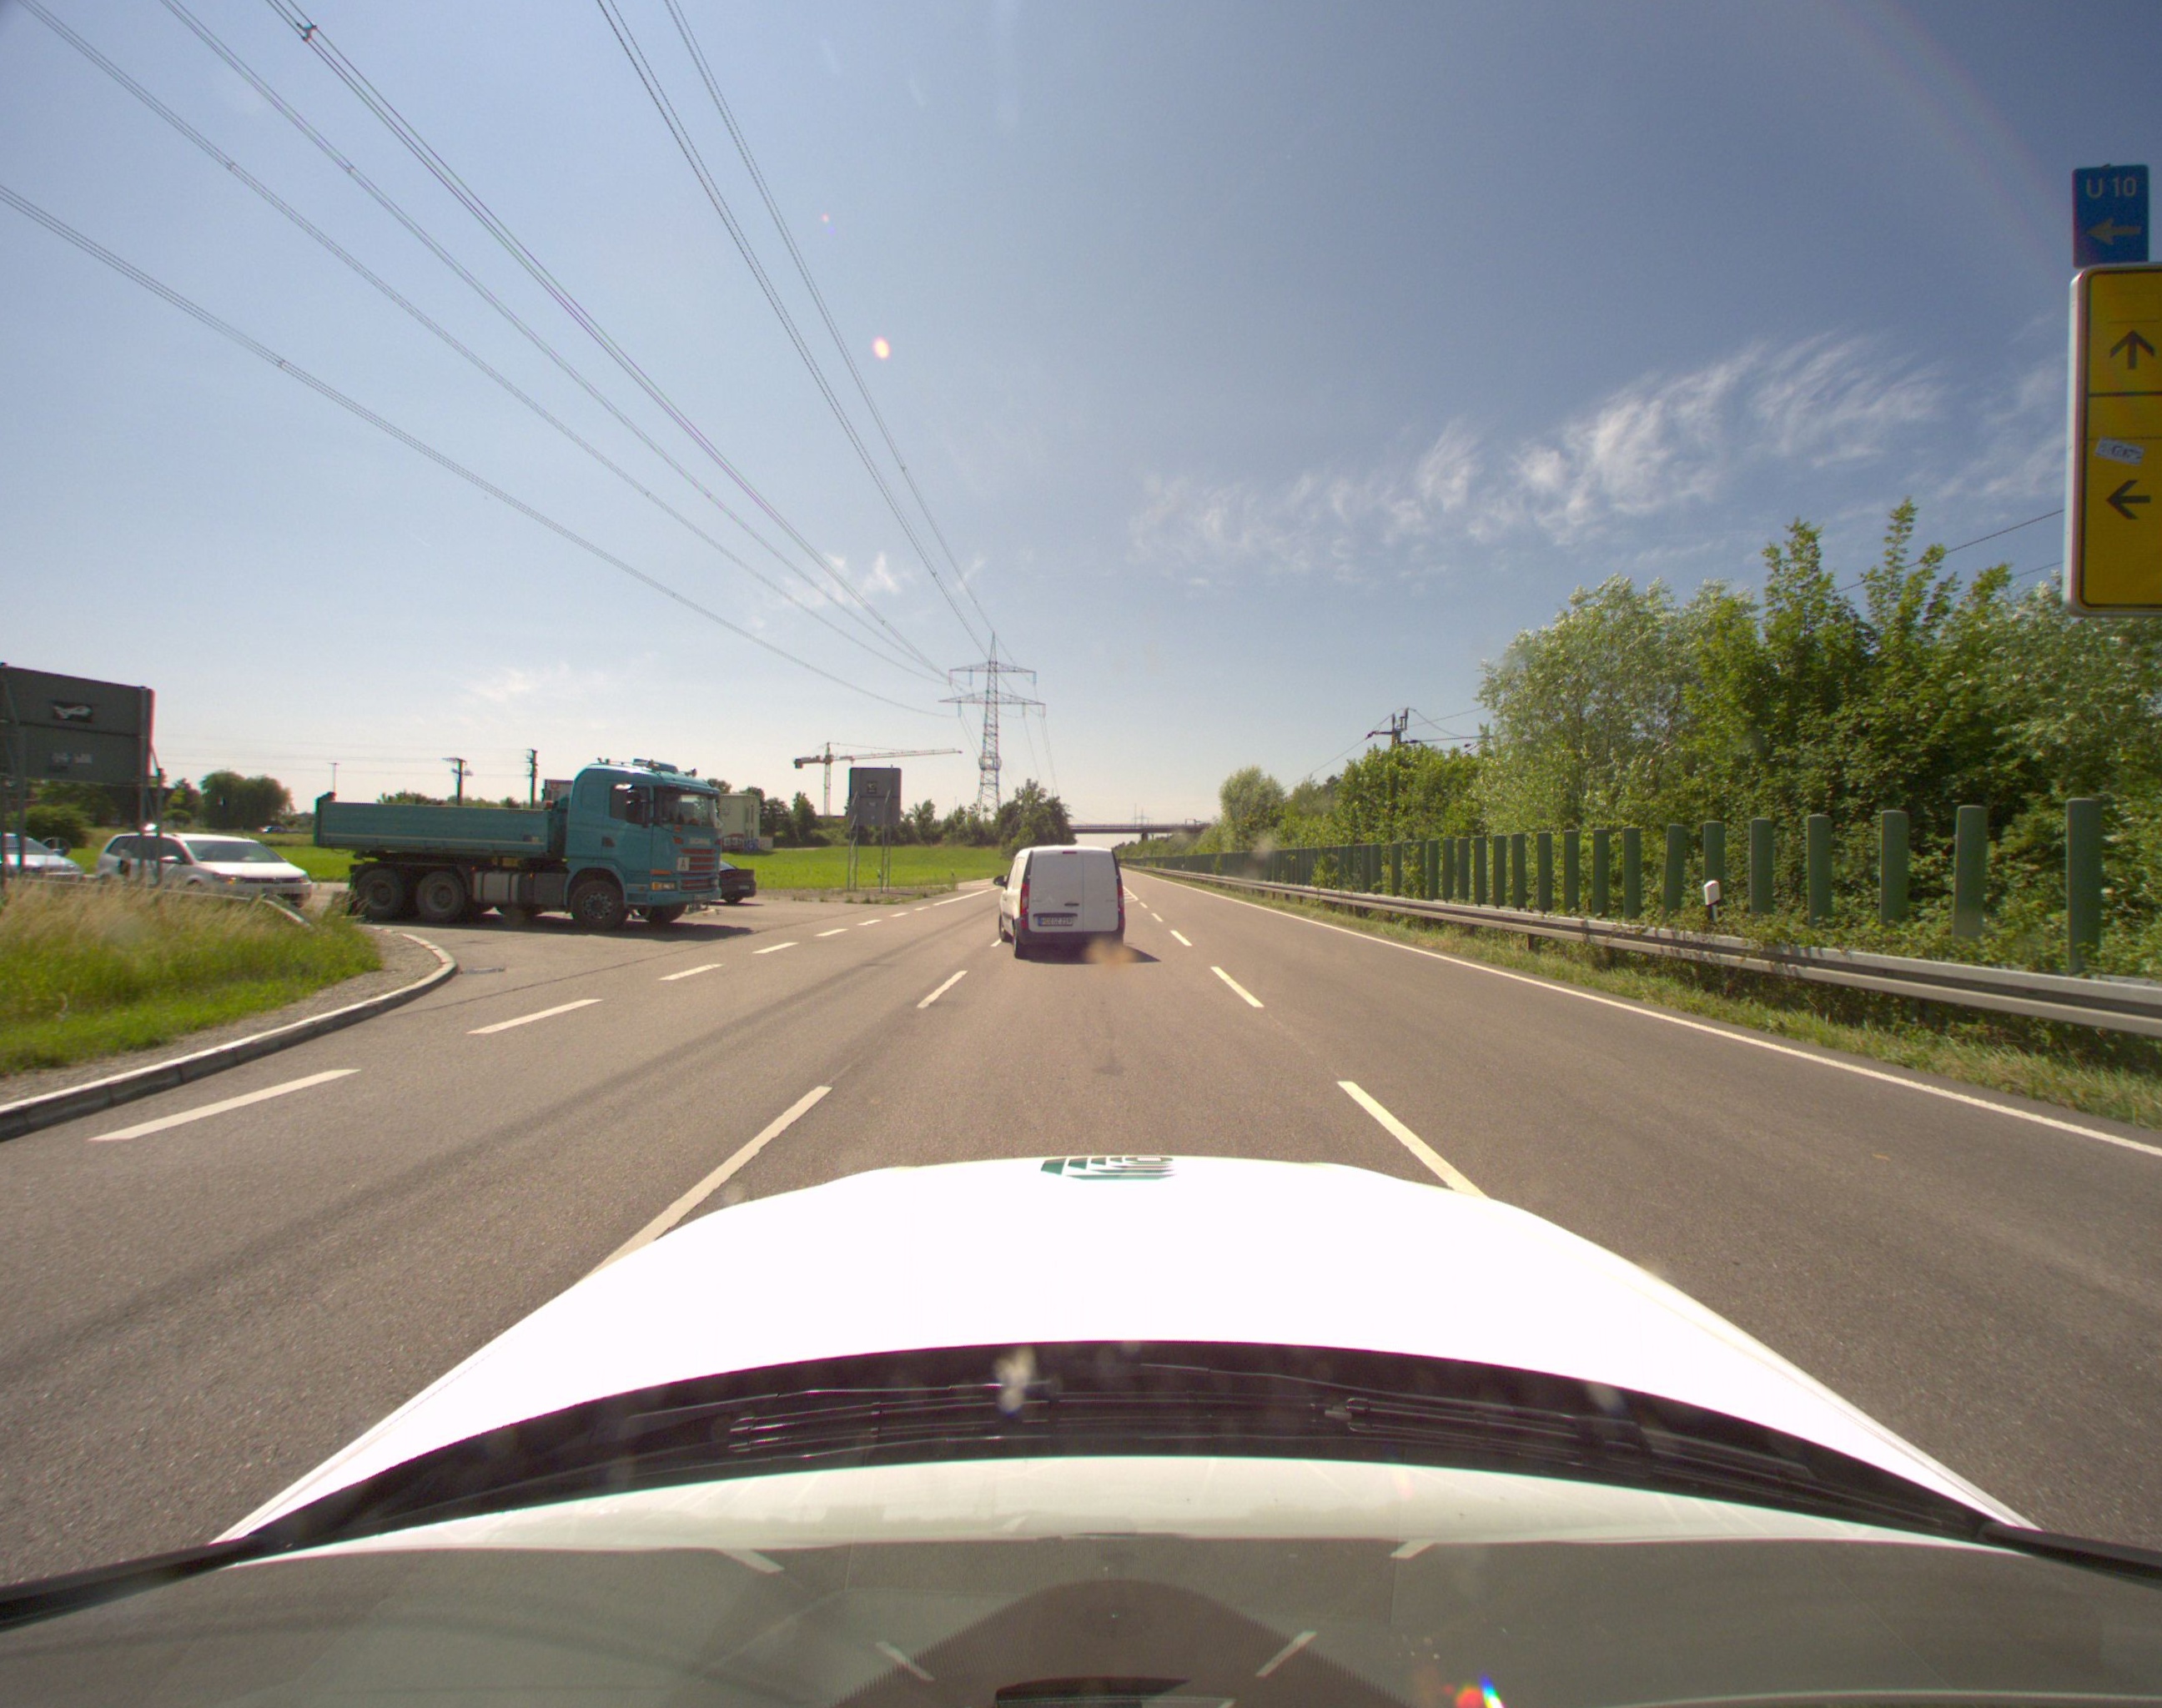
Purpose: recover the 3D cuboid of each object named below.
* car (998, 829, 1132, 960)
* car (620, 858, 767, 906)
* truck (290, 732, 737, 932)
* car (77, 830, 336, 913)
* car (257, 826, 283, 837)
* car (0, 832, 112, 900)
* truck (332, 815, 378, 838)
[{"bbox_3d":[-0.432,0.626,14.406,1.827,1.971,3.987,0,-1,-9],"label":"car"},{"bbox_3d":[-12.509,0.847,26.255,4.594,1.397,1.873,0,-1,28],"label":"car"},{"bbox_3d":[-11.988,-0.465,17.618,7.871,3.734,2.500,2,-1,3],"label":"truck"},{"bbox_3d":[-19.275,0.338,18.005,4.507,1.612,1.976,1,0,15],"label":"car"},{"bbox_3d":[-142.754,-3.979,143.465,2.004,1.679,3.966,1,0,-26],"label":"car"},{"bbox_3d":[-25.382,0.221,18.939,4.402,1.470,1.724,1,0,12],"label":"car"},{"bbox_3d":[-160.408,-5.981,180.213,3.695,4.646,13.135,1,-1,-24],"label":"truck"}]
